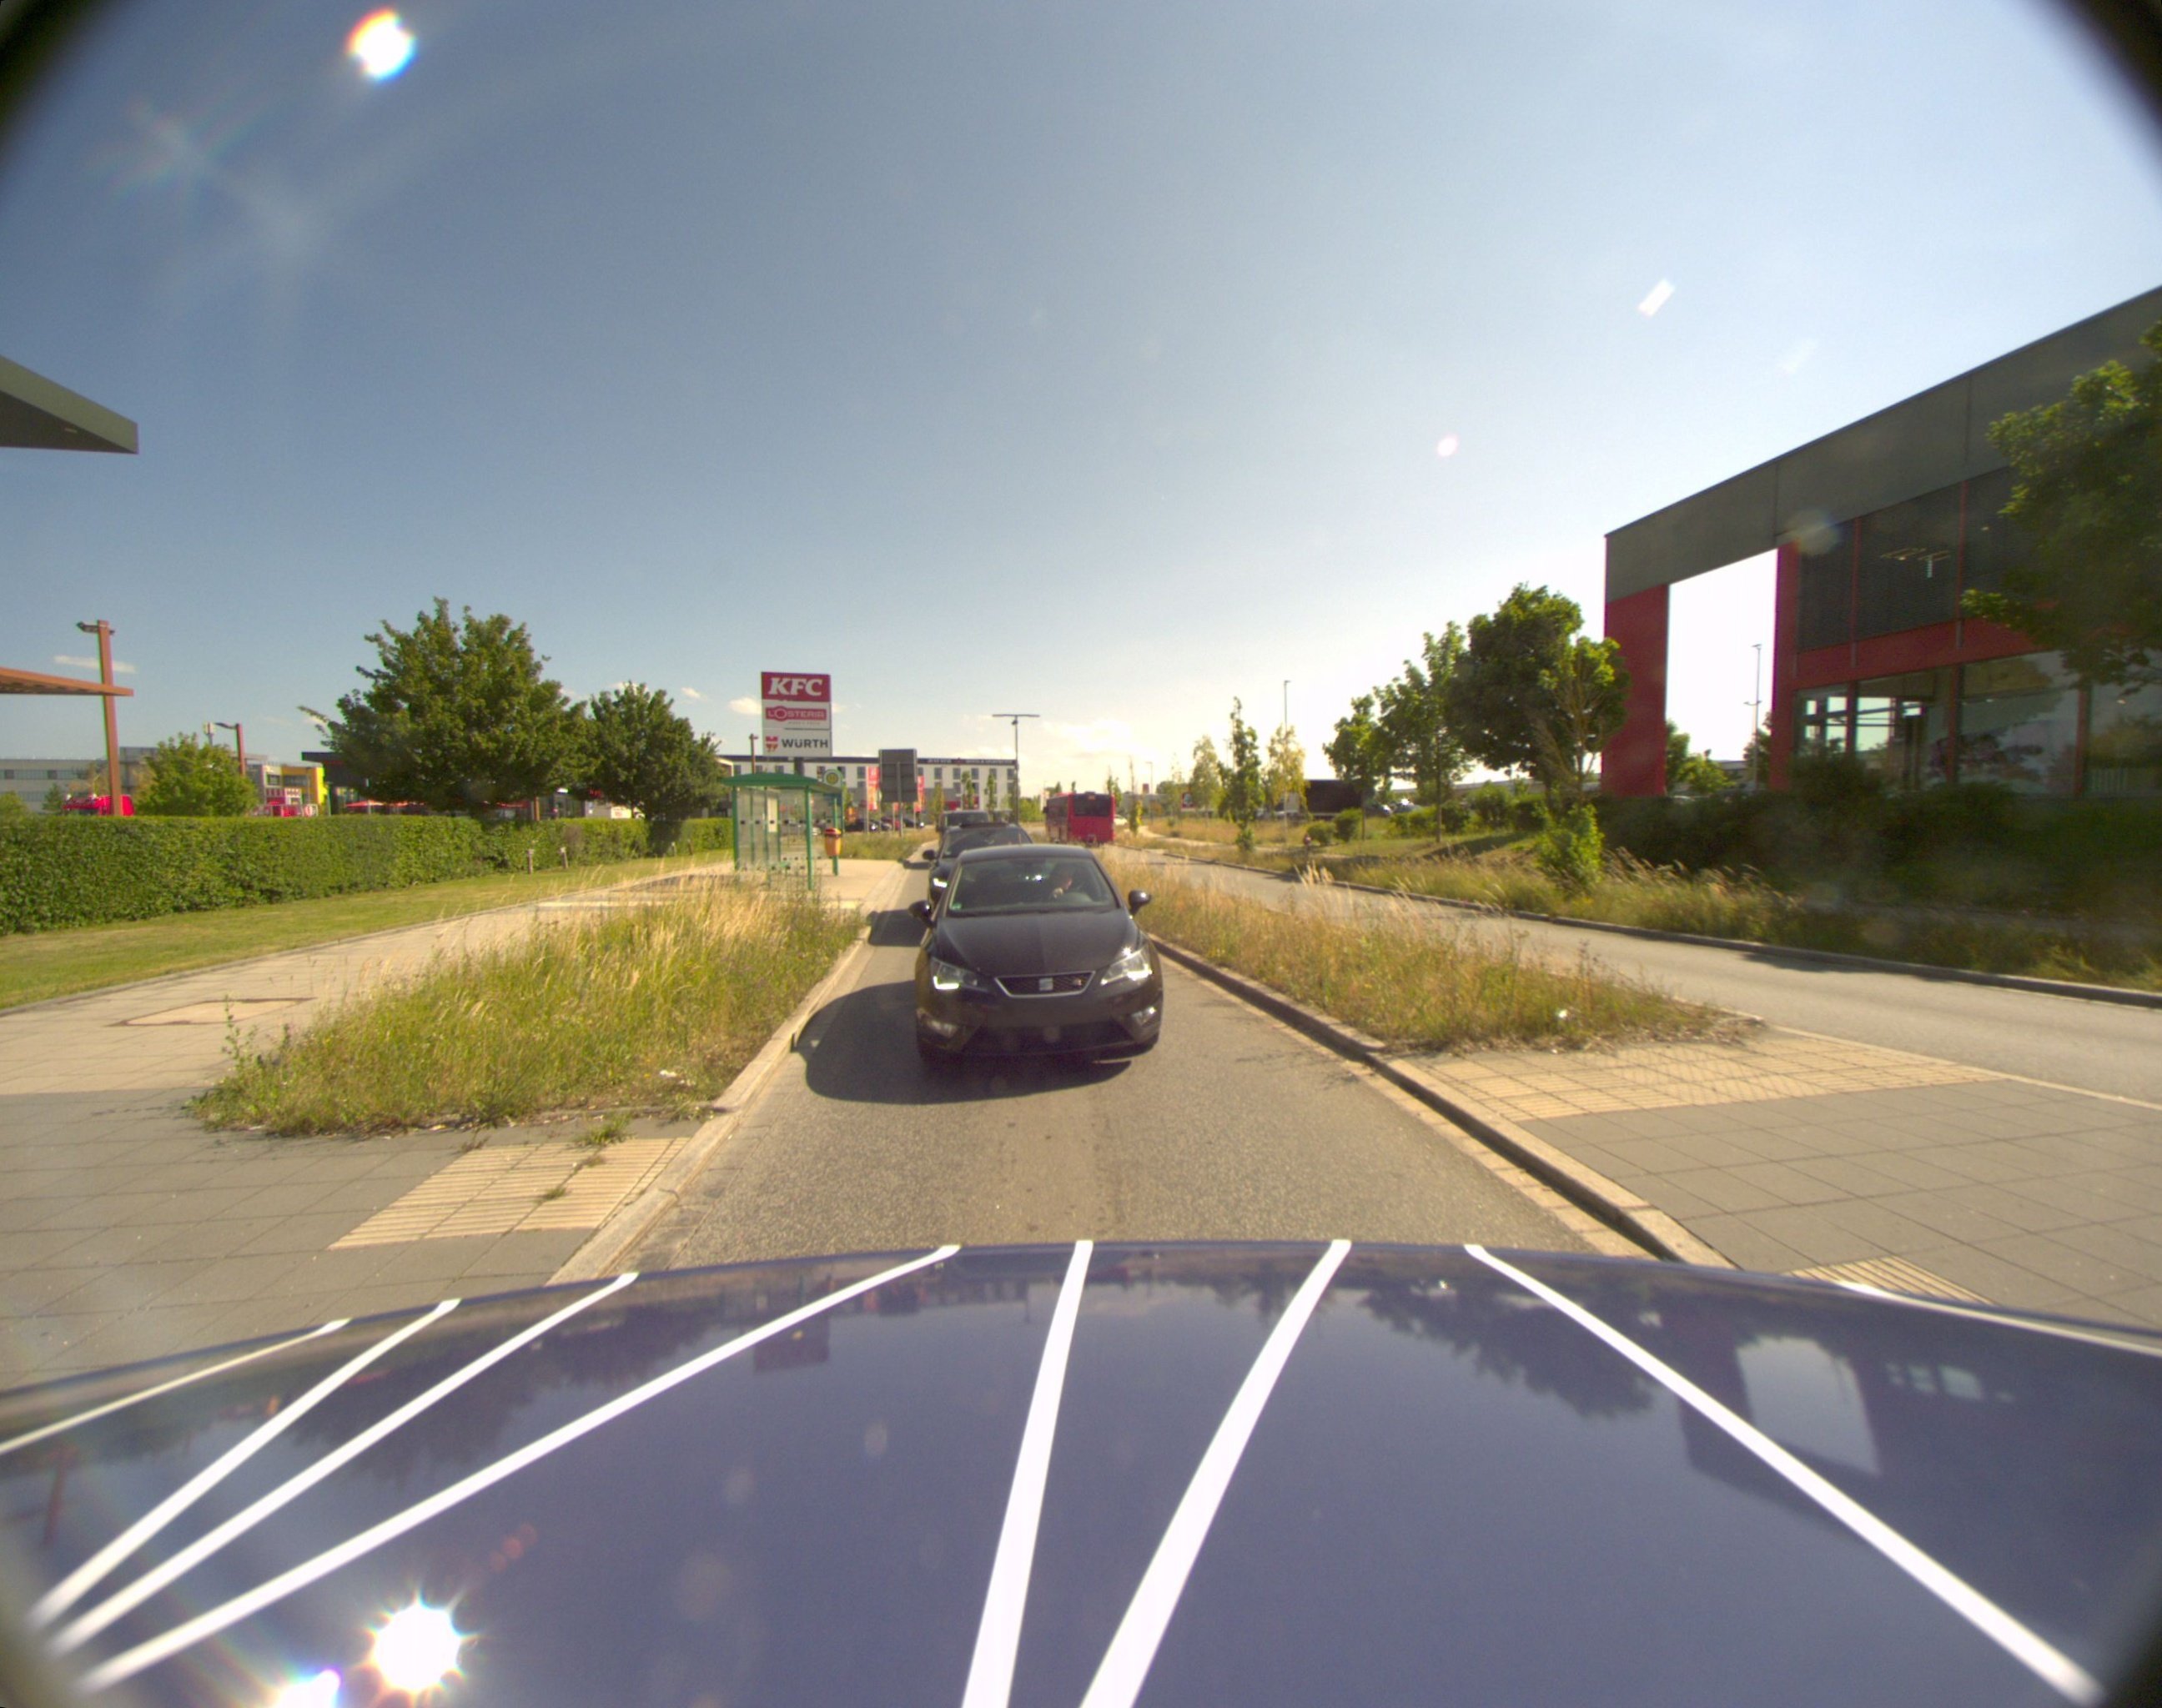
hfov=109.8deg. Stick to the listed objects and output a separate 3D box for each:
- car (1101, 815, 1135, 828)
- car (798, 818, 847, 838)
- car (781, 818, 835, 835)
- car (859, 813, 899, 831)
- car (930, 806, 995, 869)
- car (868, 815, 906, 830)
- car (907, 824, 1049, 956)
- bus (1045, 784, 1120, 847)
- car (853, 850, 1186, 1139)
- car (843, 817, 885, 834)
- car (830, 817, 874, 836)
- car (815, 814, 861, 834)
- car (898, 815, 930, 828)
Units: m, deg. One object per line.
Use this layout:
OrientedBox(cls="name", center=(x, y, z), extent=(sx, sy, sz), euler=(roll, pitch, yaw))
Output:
OrientedBox(cls="car", center=(4.913, -4.314, 99.552), extent=(4.289, 1.667, 1.615), euler=(-2, 3, -31))
OrientedBox(cls="car", center=(-26.313, -2.690, 77.465), extent=(4.182, 2.003, 1.933), euler=(0, 3, 5))
OrientedBox(cls="car", center=(-26.110, -2.648, 72.791), extent=(4.441, 1.644, 1.932), euler=(-1, 3, -3))
OrientedBox(cls="car", center=(-24.424, -3.878, 91.885), extent=(4.183, 2.003, 1.932), euler=(0, 3, 2))
OrientedBox(cls="car", center=(-4.358, -0.704, 28.368), extent=(2.080, 2.038, 4.677), euler=(-4, 4, -7))
OrientedBox(cls="car", center=(-24.310, -3.977, 95.178), extent=(4.181, 1.752, 1.824), euler=(0, 3, 7))
OrientedBox(cls="car", center=(-1.681, 0.418, 12.556), extent=(1.863, 1.679, 3.995), euler=(-4, 4, -7))
OrientedBox(cls="bus", center=(-0.177, -2.210, 44.949), extent=(2.617, 3.224, 11.866), euler=(-1, 3, -9))
OrientedBox(cls="car", center=(-0.482, 0.777, 6.292), extent=(1.862, 1.460, 3.996), euler=(-1, 3, -5))
OrientedBox(cls="car", center=(-24.780, -3.255, 86.805), extent=(4.181, 1.847, 1.803), euler=(0, 3, 8))
OrientedBox(cls="car", center=(-25.431, -3.075, 84.473), extent=(4.182, 2.003, 1.933), euler=(0, 3, 4))
OrientedBox(cls="car", center=(-25.768, -3.212, 80.589), extent=(4.182, 2.003, 1.933), euler=(0, 3, 4))
OrientedBox(cls="car", center=(-22.265, -4.344, 101.562), extent=(3.821, 1.611, 1.756), euler=(0, 3, 4))
